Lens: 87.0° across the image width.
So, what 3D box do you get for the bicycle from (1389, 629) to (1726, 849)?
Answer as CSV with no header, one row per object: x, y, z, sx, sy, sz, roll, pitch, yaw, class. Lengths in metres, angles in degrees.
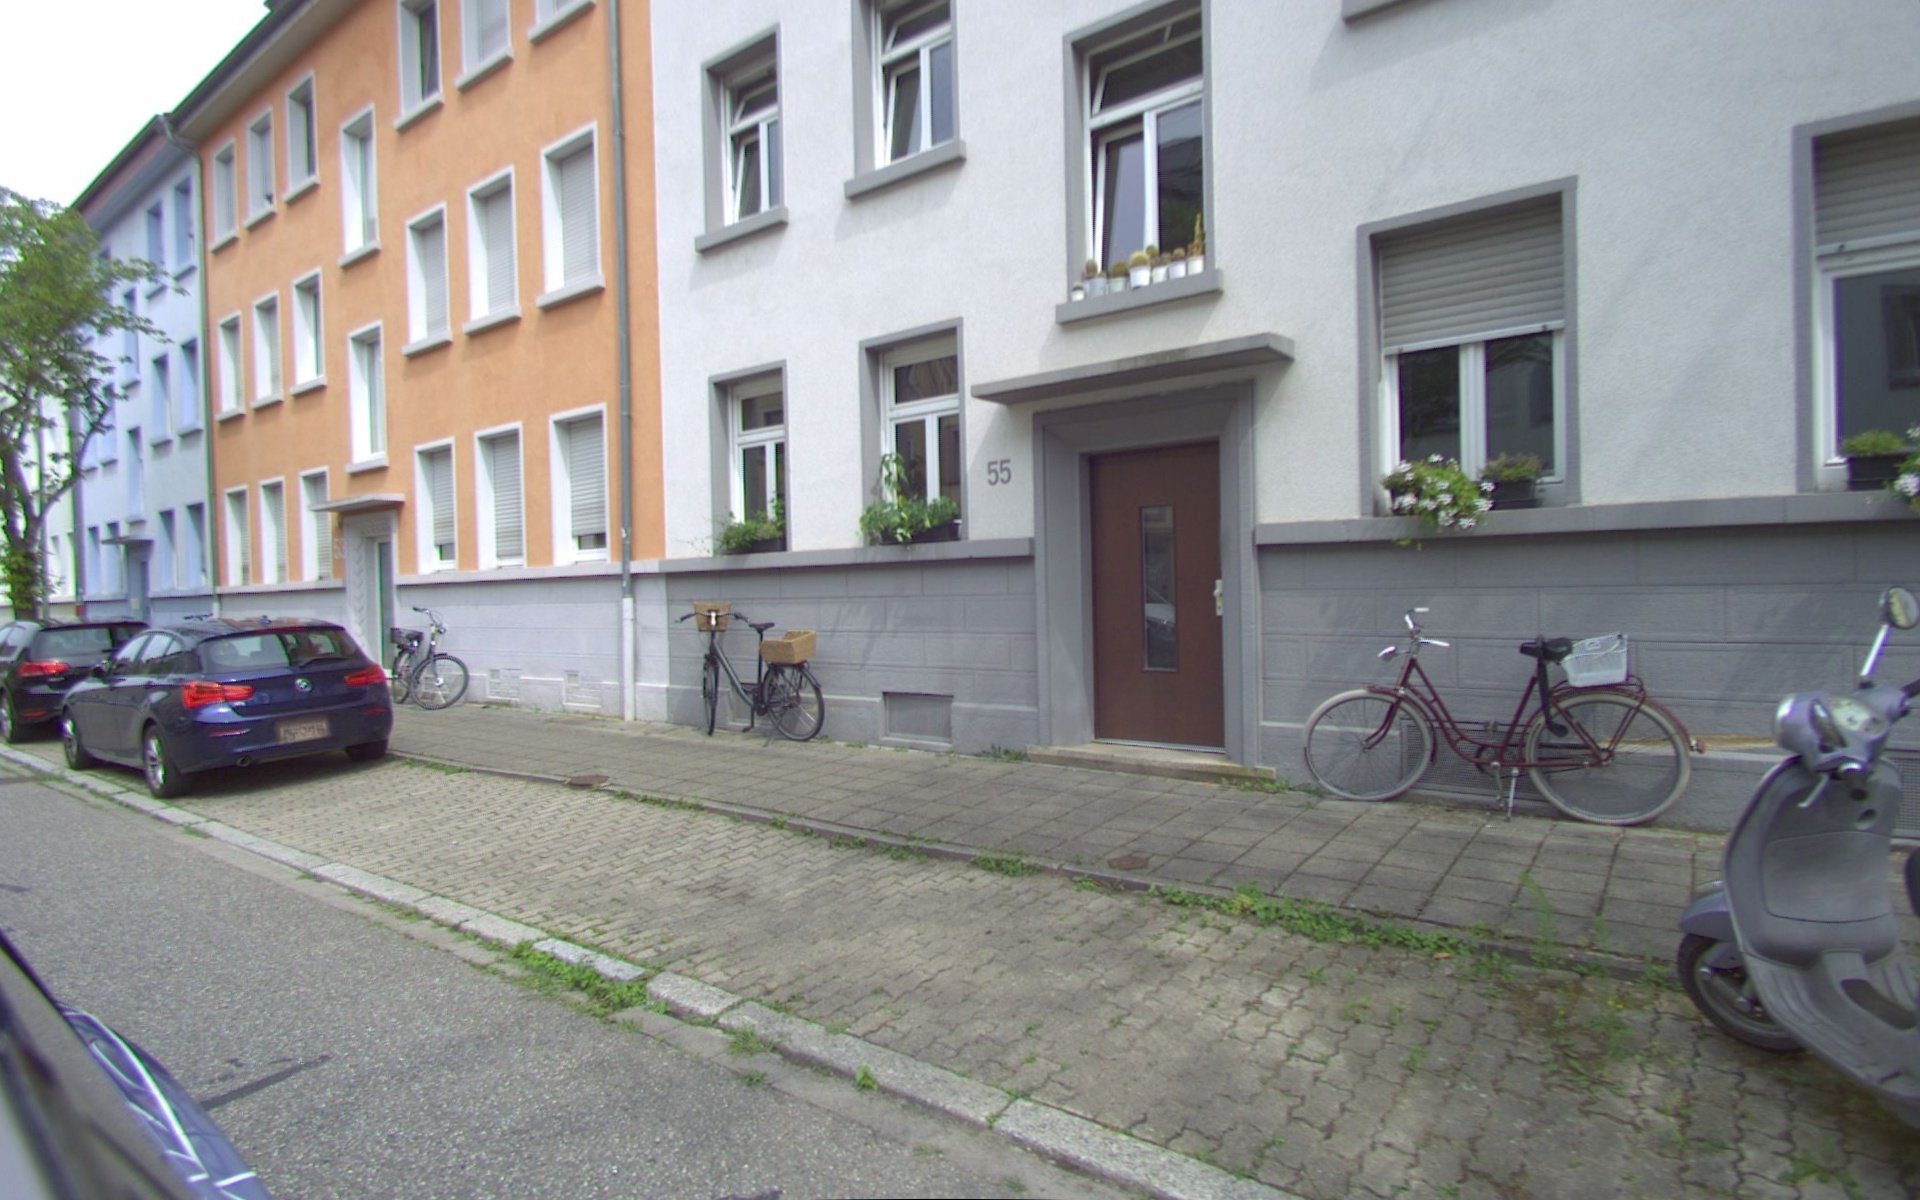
2.967,0.641,5.124,1.432,0.974,0.306,-1,-2,39,bicycle

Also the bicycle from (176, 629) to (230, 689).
-13.369,1.021,17.859,1.567,1.003,0.363,-1,-1,38,bicycle

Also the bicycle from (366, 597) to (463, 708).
-7.010,0.647,12.967,1.810,1.344,0.425,-1,-2,39,bicycle

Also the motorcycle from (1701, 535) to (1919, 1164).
2.540,0.562,2.168,0.784,1.418,2.010,0,-1,13,motorcycle

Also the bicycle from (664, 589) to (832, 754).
-1.913,0.595,8.980,1.810,1.344,0.425,-1,-2,39,bicycle

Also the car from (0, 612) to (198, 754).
-11.832,0.960,13.238,4.085,1.495,1.820,-1,2,36,car

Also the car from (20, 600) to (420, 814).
-7.091,0.832,9.576,4.112,1.494,1.821,-1,3,36,car

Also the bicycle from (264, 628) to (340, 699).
-9.951,0.933,15.284,1.865,1.013,0.363,-1,-2,38,bicycle
